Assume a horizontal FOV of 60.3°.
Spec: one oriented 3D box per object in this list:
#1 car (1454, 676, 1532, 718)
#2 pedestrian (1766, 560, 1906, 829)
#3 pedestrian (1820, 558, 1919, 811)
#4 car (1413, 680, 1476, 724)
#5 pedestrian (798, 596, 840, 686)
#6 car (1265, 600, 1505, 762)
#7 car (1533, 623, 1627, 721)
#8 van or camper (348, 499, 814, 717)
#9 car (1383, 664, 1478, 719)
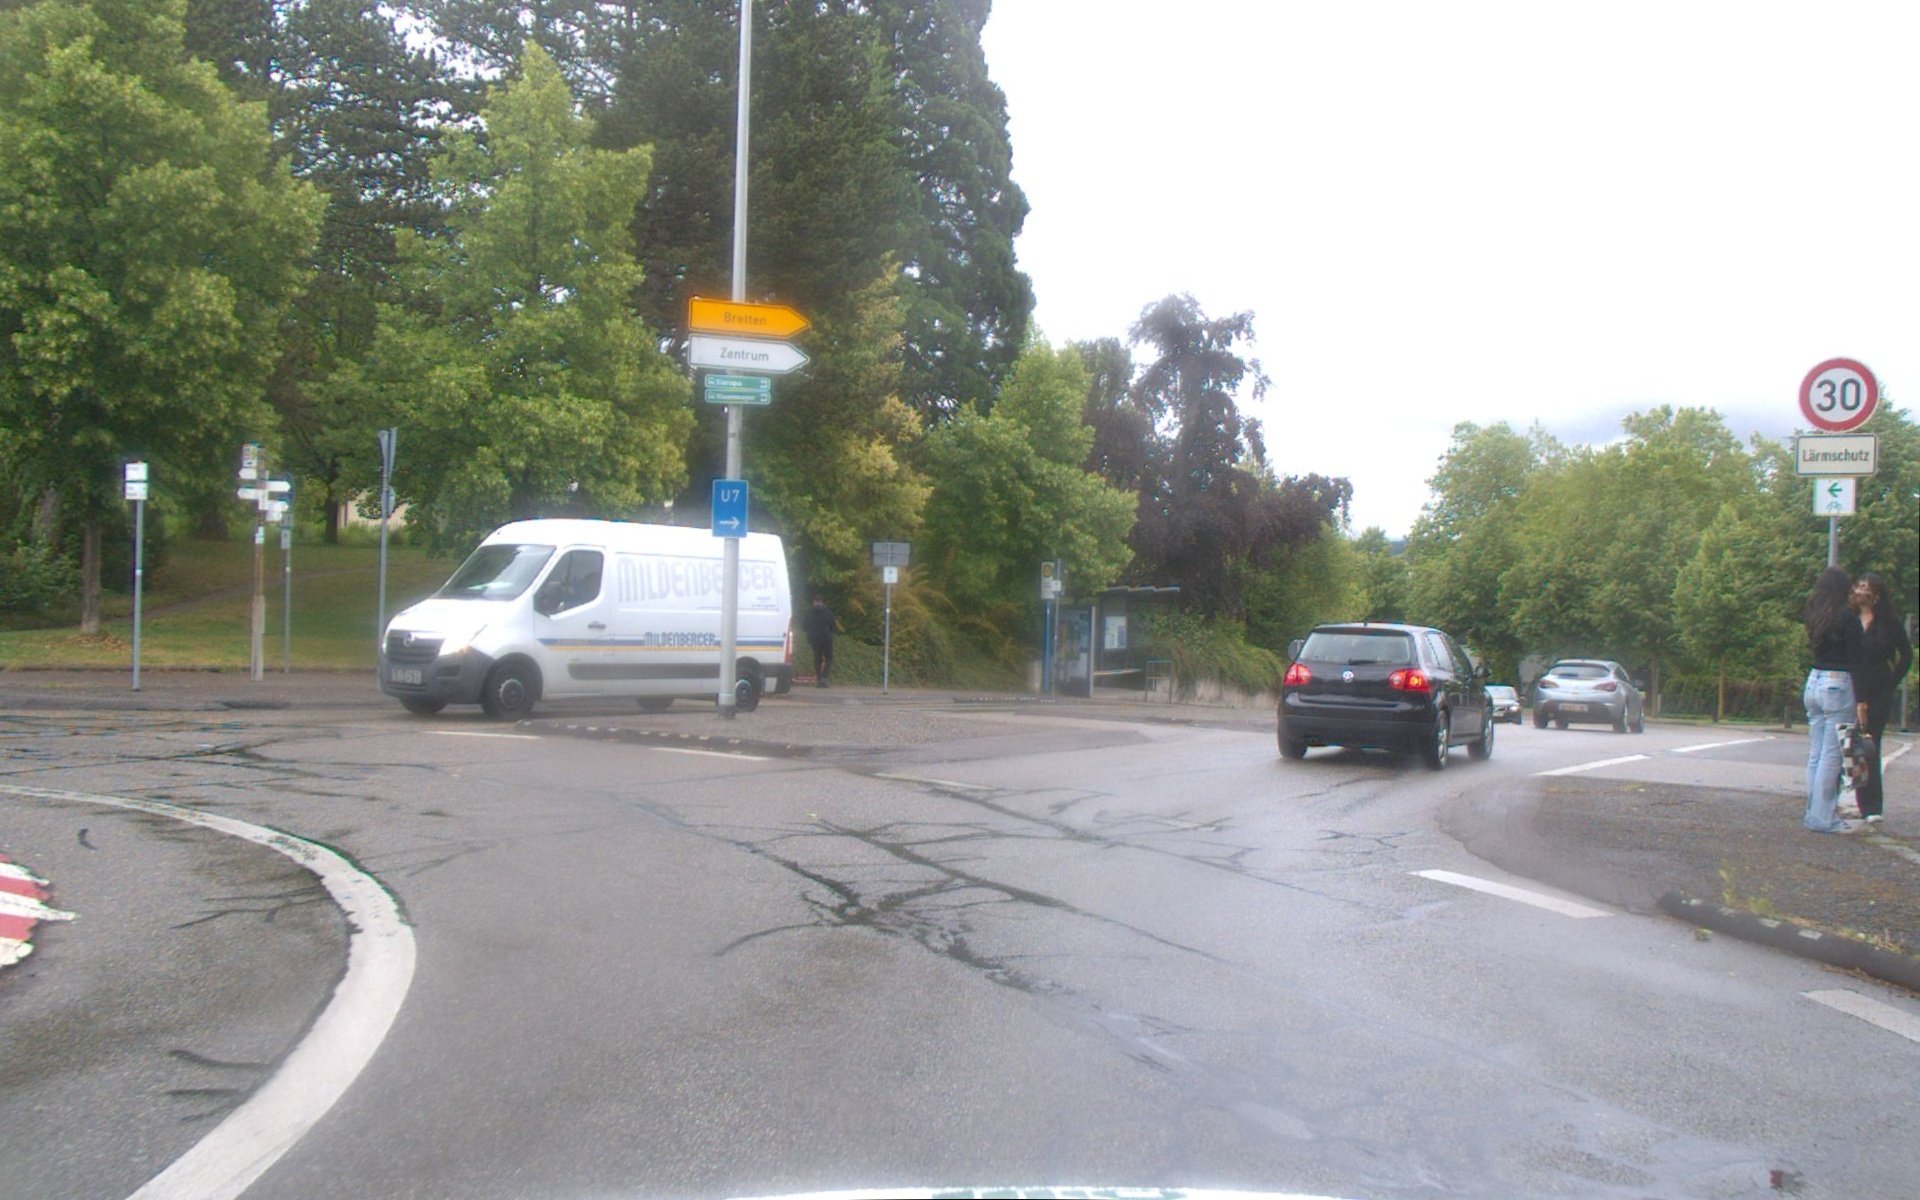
[{"bbox_3d":[19.728,3.554,61.120,1.873,1.417,4.507,2,-2,29],"label":"car"},{"bbox_3d":[5.891,0.615,11.131,0.524,1.743,0.628,3,-1,-36],"label":"pedestrian"},{"bbox_3d":[6.608,0.596,11.779,0.621,1.743,0.529,3,-1,-6],"label":"pedestrian"},{"bbox_3d":[23.264,4.880,79.603,2.022,1.871,4.001,1,-1,3],"label":"car"},{"bbox_3d":[-2.835,0.815,33.321,0.723,1.755,0.816,2,-1,-1],"label":"pedestrian"},{"bbox_3d":[4.841,0.906,18.424,1.731,1.566,3.994,1,-3,27],"label":"car"},{"bbox_3d":[13.257,1.579,35.231,1.729,1.833,4.244,0,-5,23],"label":"car"},{"bbox_3d":[-4.664,0.169,21.281,2.160,2.419,5.640,2,-1,39],"label":"van or camper"},{"bbox_3d":[14.047,2.760,49.254,1.872,1.417,4.509,2,-3,27],"label":"car"}]
